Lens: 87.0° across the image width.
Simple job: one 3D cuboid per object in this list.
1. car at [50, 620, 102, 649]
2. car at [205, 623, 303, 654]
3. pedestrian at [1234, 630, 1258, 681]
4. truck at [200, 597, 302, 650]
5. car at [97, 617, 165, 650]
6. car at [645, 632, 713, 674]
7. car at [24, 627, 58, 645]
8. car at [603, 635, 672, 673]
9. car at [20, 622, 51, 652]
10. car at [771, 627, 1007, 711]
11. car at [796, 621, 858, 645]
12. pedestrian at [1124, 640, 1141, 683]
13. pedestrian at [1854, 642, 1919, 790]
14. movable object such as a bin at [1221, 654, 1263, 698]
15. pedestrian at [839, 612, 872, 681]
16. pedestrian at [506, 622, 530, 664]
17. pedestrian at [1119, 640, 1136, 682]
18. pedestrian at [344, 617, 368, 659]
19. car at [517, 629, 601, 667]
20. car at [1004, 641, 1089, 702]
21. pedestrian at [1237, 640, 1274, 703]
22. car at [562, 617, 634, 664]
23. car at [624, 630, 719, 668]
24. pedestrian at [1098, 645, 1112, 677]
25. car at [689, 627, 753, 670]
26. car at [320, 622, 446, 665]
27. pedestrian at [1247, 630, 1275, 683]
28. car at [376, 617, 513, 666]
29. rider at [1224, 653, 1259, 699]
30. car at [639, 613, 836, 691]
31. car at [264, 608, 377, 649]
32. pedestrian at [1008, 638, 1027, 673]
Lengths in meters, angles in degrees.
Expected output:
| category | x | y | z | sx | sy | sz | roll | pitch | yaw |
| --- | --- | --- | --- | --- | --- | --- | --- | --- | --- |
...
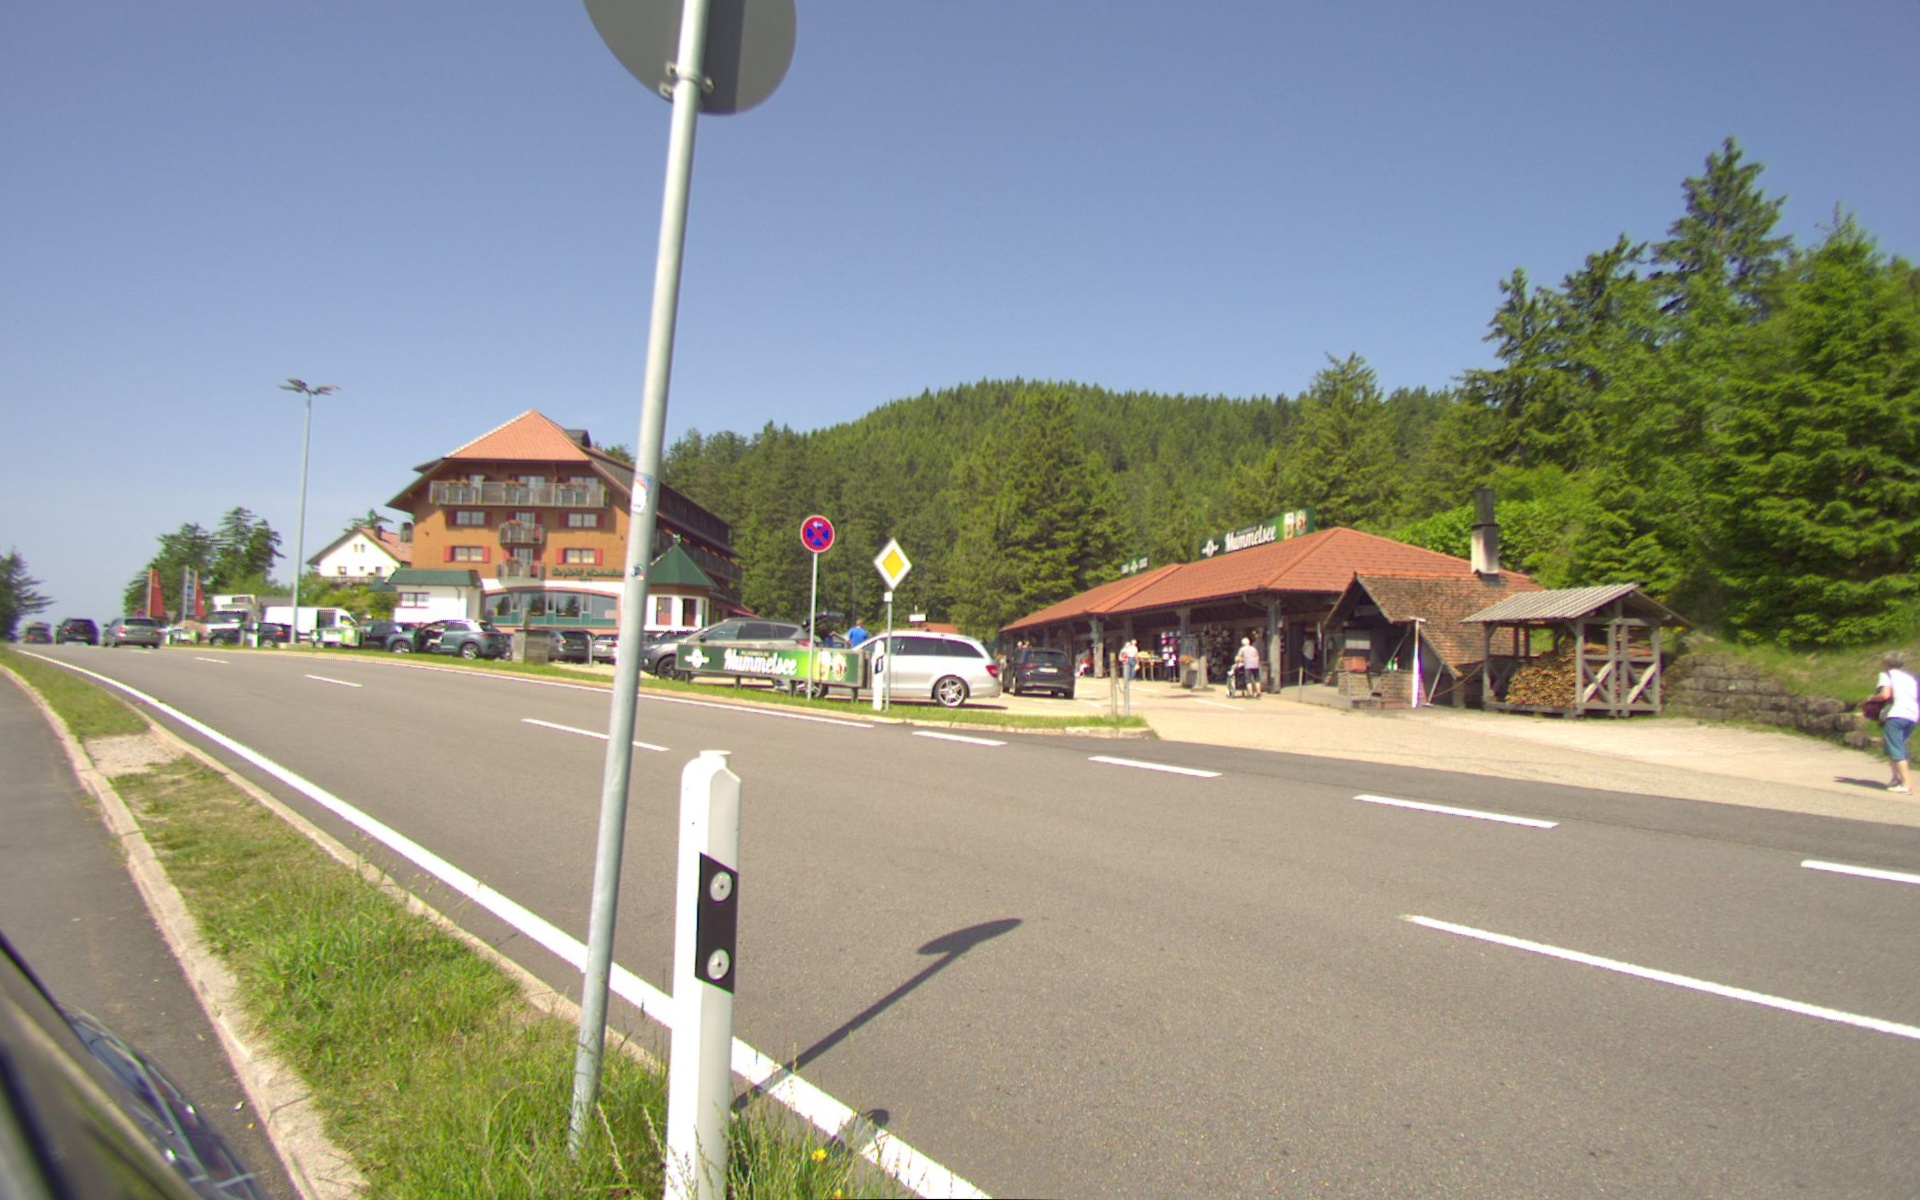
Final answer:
| category | x | y | z | sx | sy | sz | roll | pitch | yaw |
| --- | --- | --- | --- | --- | --- | --- | --- | --- | --- |
| car | -55.212 | 2.148 | 63.180 | 4.567 | 1.660 | 1.971 | -1 | -3 | 43 |
| car | -39.119 | 2.144 | 56.176 | 4.030 | 1.539 | 1.827 | 2 | -3 | -8 |
| pedestrian | 9.947 | 1.916 | 35.205 | 0.555 | 1.750 | 0.663 | 0 | -3 | 41 |
| truck | -54.603 | 1.857 | 78.251 | 2.837 | 3.850 | 9.035 | 0 | -2 | -10 |
| car | -39.170 | 1.550 | 47.778 | 4.714 | 1.485 | 1.858 | -1 | -1 | 43 |
| car | -11.777 | 2.217 | 42.678 | 1.798 | 1.641 | 4.096 | 2 | -3 | -2 |
| car | -78.705 | 3.093 | 86.674 | 4.449 | 1.449 | 1.687 | -1 | -3 | 43 |
| car | -14.031 | 2.321 | 44.222 | 1.798 | 1.524 | 4.096 | 2 | -3 | -2 |
| car | -92.960 | 3.694 | 101.705 | 1.988 | 2.772 | 5.921 | 4 | -3 | -44 |
| car | -1.412 | 1.354 | 20.107 | 4.434 | 1.441 | 1.724 | 2 | -3 | -5 |
| car | -10.607 | 2.670 | 81.015 | 4.775 | 1.729 | 1.921 | 2 | -3 | -3 |
| pedestrian | 6.941 | 2.466 | 40.632 | 0.499 | 1.668 | 0.472 | 2 | -2 | -12 |
| pedestrian | 11.335 | 1.363 | 12.066 | 0.711 | 1.694 | 0.683 | 2 | -2 | -3 |
| movable object such as a bin | 8.226 | 2.196 | 29.541 | 0.972 | 1.198 | 1.214 | 1 | -2 | 6 |
| pedestrian | -2.574 | 1.140 | 24.964 | 0.734 | 1.648 | 0.848 | 2 | -2 | -7 |
| pedestrian | -17.821 | 1.737 | 40.793 | 0.733 | 1.637 | 0.685 | 2 | -3 | -17 |
| pedestrian | 6.812 | 2.470 | 41.109 | 0.499 | 1.668 | 0.472 | 2 | -2 | -12 |
| pedestrian | -29.613 | 1.849 | 49.613 | 0.802 | 2.029 | 0.707 | -1 | -3 | 41 |
| car | -16.855 | 1.985 | 42.420 | 4.000 | 1.441 | 1.697 | 0 | -4 | 43 |
| car | 2.471 | 2.041 | 29.788 | 1.971 | 1.541 | 4.001 | 3 | -2 | -1 |
| pedestrian | 8.306 | 1.994 | 28.493 | 0.829 | 1.712 | 0.802 | 1 | -2 | 6 |
| car | -16.648 | 1.859 | 46.771 | 1.971 | 2.029 | 4.002 | 1 | -2 | -2 |
| car | -13.818 | 2.363 | 48.648 | 4.033 | 1.641 | 1.826 | 2 | -3 | -4 |
| pedestrian | 6.696 | 2.830 | 46.730 | 0.537 | 1.442 | 0.473 | 1 | -2 | -5 |
| car | -9.891 | 2.011 | 42.173 | 1.798 | 1.641 | 4.096 | 2 | -3 | -2 |
| car | -24.377 | 1.845 | 42.870 | 4.207 | 1.641 | 1.826 | 2 | -3 | -4 |
| pedestrian | 10.198 | 1.907 | 34.283 | 0.740 | 1.750 | 0.802 | 1 | -2 | 6 |
| car | -19.449 | 1.576 | 38.318 | 4.207 | 1.641 | 1.826 | 2 | -3 | -4 |
| rider | 8.181 | 2.205 | 29.461 | 0.829 | 1.284 | 0.907 | 1 | -2 | 6 |
| car | -5.315 | 1.270 | 24.681 | 4.482 | 1.668 | 1.724 | 2 | -3 | -5 |
| car | -47.423 | 2.137 | 75.281 | 6.845 | 2.812 | 2.675 | 3 | -3 | -28 |
| pedestrian | 2.810 | 2.689 | 49.491 | 0.771 | 1.668 | 0.881 | 1 | -2 | -8 |
